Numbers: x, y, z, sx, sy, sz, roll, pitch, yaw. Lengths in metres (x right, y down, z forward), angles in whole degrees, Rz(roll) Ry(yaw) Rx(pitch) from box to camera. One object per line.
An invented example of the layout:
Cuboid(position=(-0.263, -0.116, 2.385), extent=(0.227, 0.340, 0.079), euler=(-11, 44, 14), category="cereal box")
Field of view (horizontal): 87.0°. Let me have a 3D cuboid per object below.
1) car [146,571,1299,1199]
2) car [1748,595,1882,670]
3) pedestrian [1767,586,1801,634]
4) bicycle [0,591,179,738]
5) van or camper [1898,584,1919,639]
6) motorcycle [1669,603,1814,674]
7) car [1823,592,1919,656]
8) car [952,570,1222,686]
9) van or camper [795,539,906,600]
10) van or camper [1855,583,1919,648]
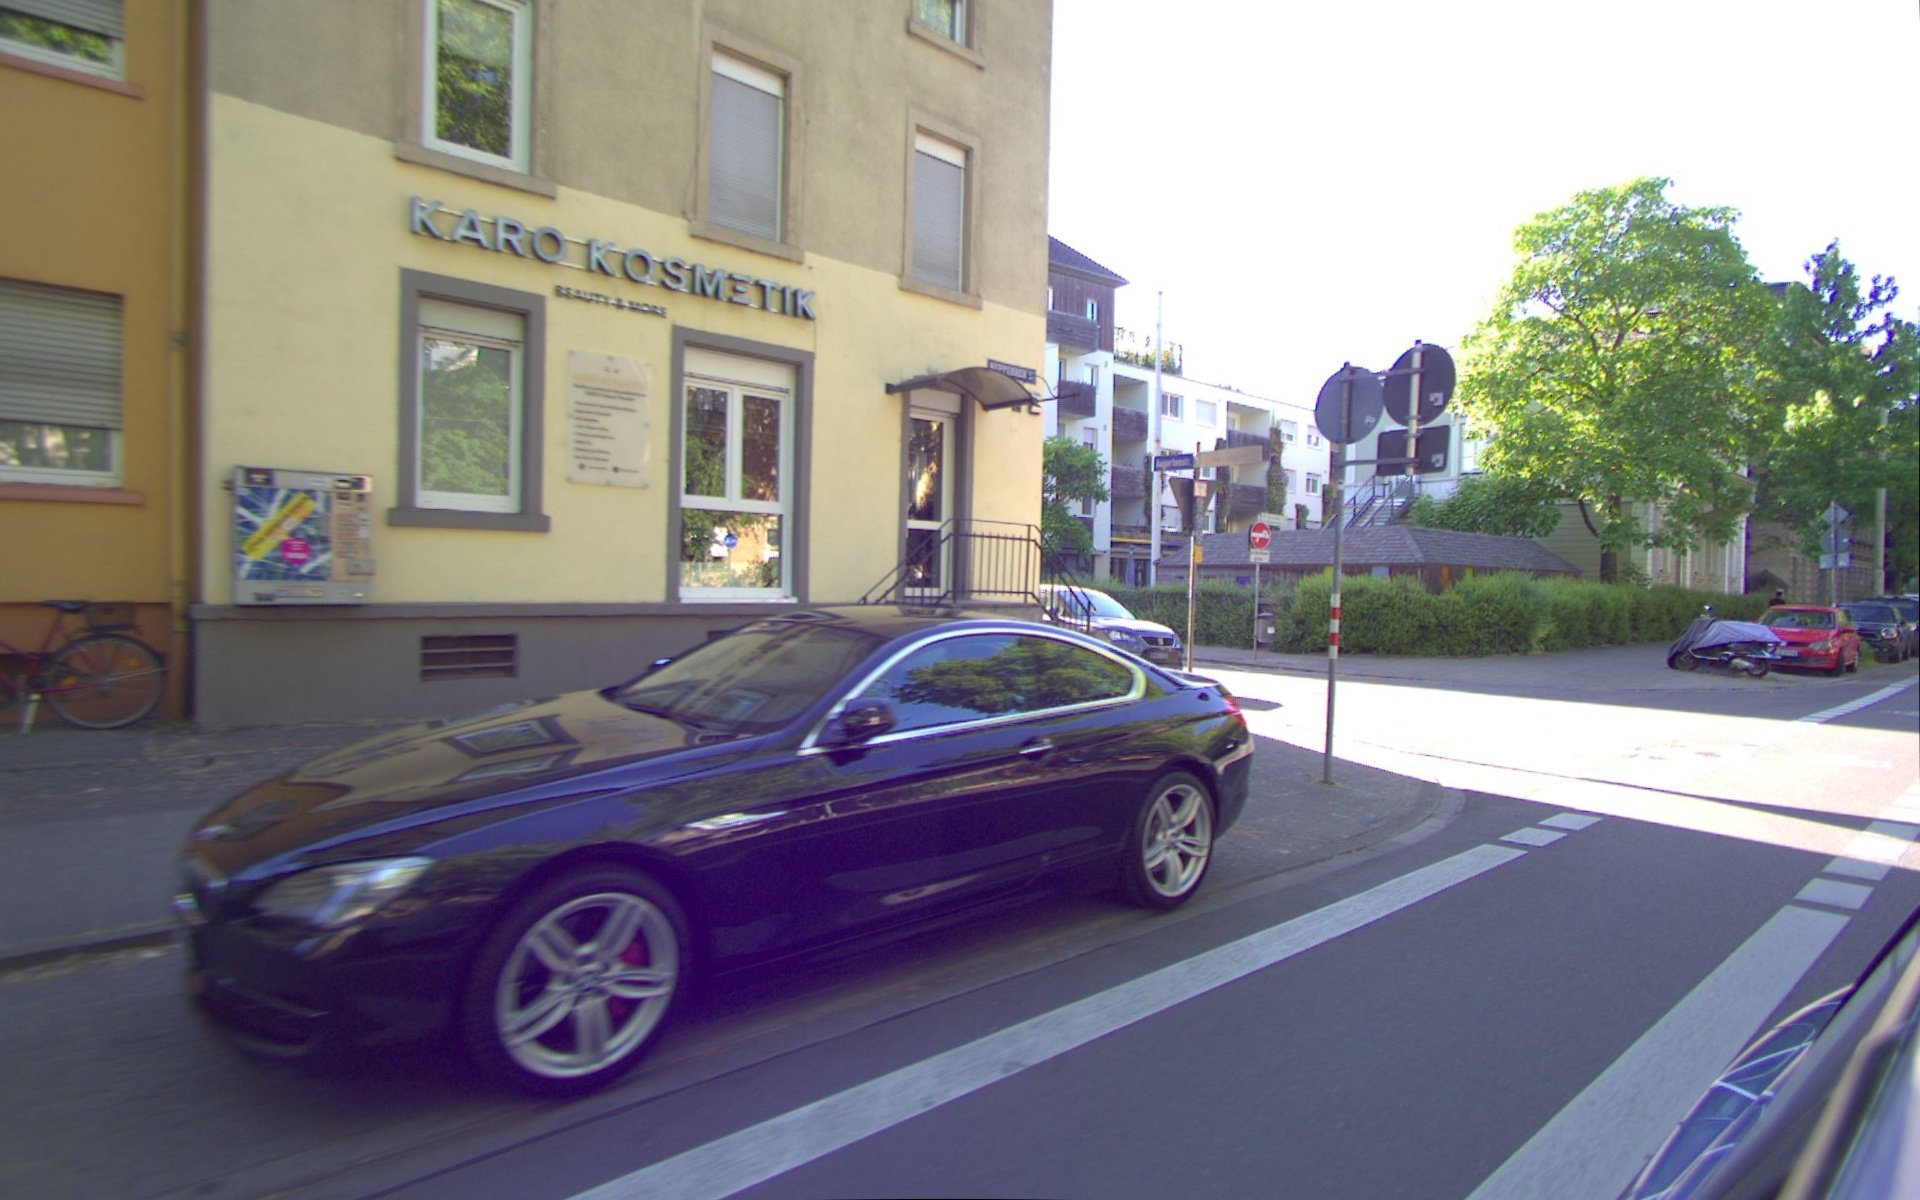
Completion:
Cuboid(position=(-0.643, 0.636, 4.556), extent=(4.657, 1.397, 1.998), euler=(0, 3, -41), category="car")
Cuboid(position=(18.490, 0.638, 21.845), extent=(3.797, 1.397, 1.607), euler=(0, 3, -41), category="car")
Cuboid(position=(29.629, 0.350, 36.387), extent=(0.869, 1.699, 0.813), euler=(0, 0, -41), category="pedestrian")
Cuboid(position=(-6.733, 0.445, 7.214), extent=(1.826, 1.010, 0.427), euler=(0, 1, -41), category="bicycle")
Cuboid(position=(36.010, 0.423, 37.050), extent=(4.837, 1.906, 1.882), euler=(0, 3, -41), category="van or camper")
Cuboid(position=(15.367, 0.728, 19.962), extent=(0.812, 1.172, 2.074), euler=(0, 4, -36), category="motorcycle")
Cuboid(position=(24.902, 0.591, 27.419), extent=(4.071, 1.505, 1.693), euler=(0, 3, -41), category="car")
Cuboid(position=(1.946, 0.402, 16.802), extent=(1.866, 1.660, 4.462), euler=(3, -1, -36), category="car")
Cuboid(position=(-3.958, -1.044, 35.897), extent=(1.894, 2.007, 4.596), euler=(1, 0, -36), category="van or camper")
Cuboid(position=(29.038, 0.430, 31.088), extent=(4.366, 1.804, 1.693), euler=(0, 3, -41), category="van or camper")
